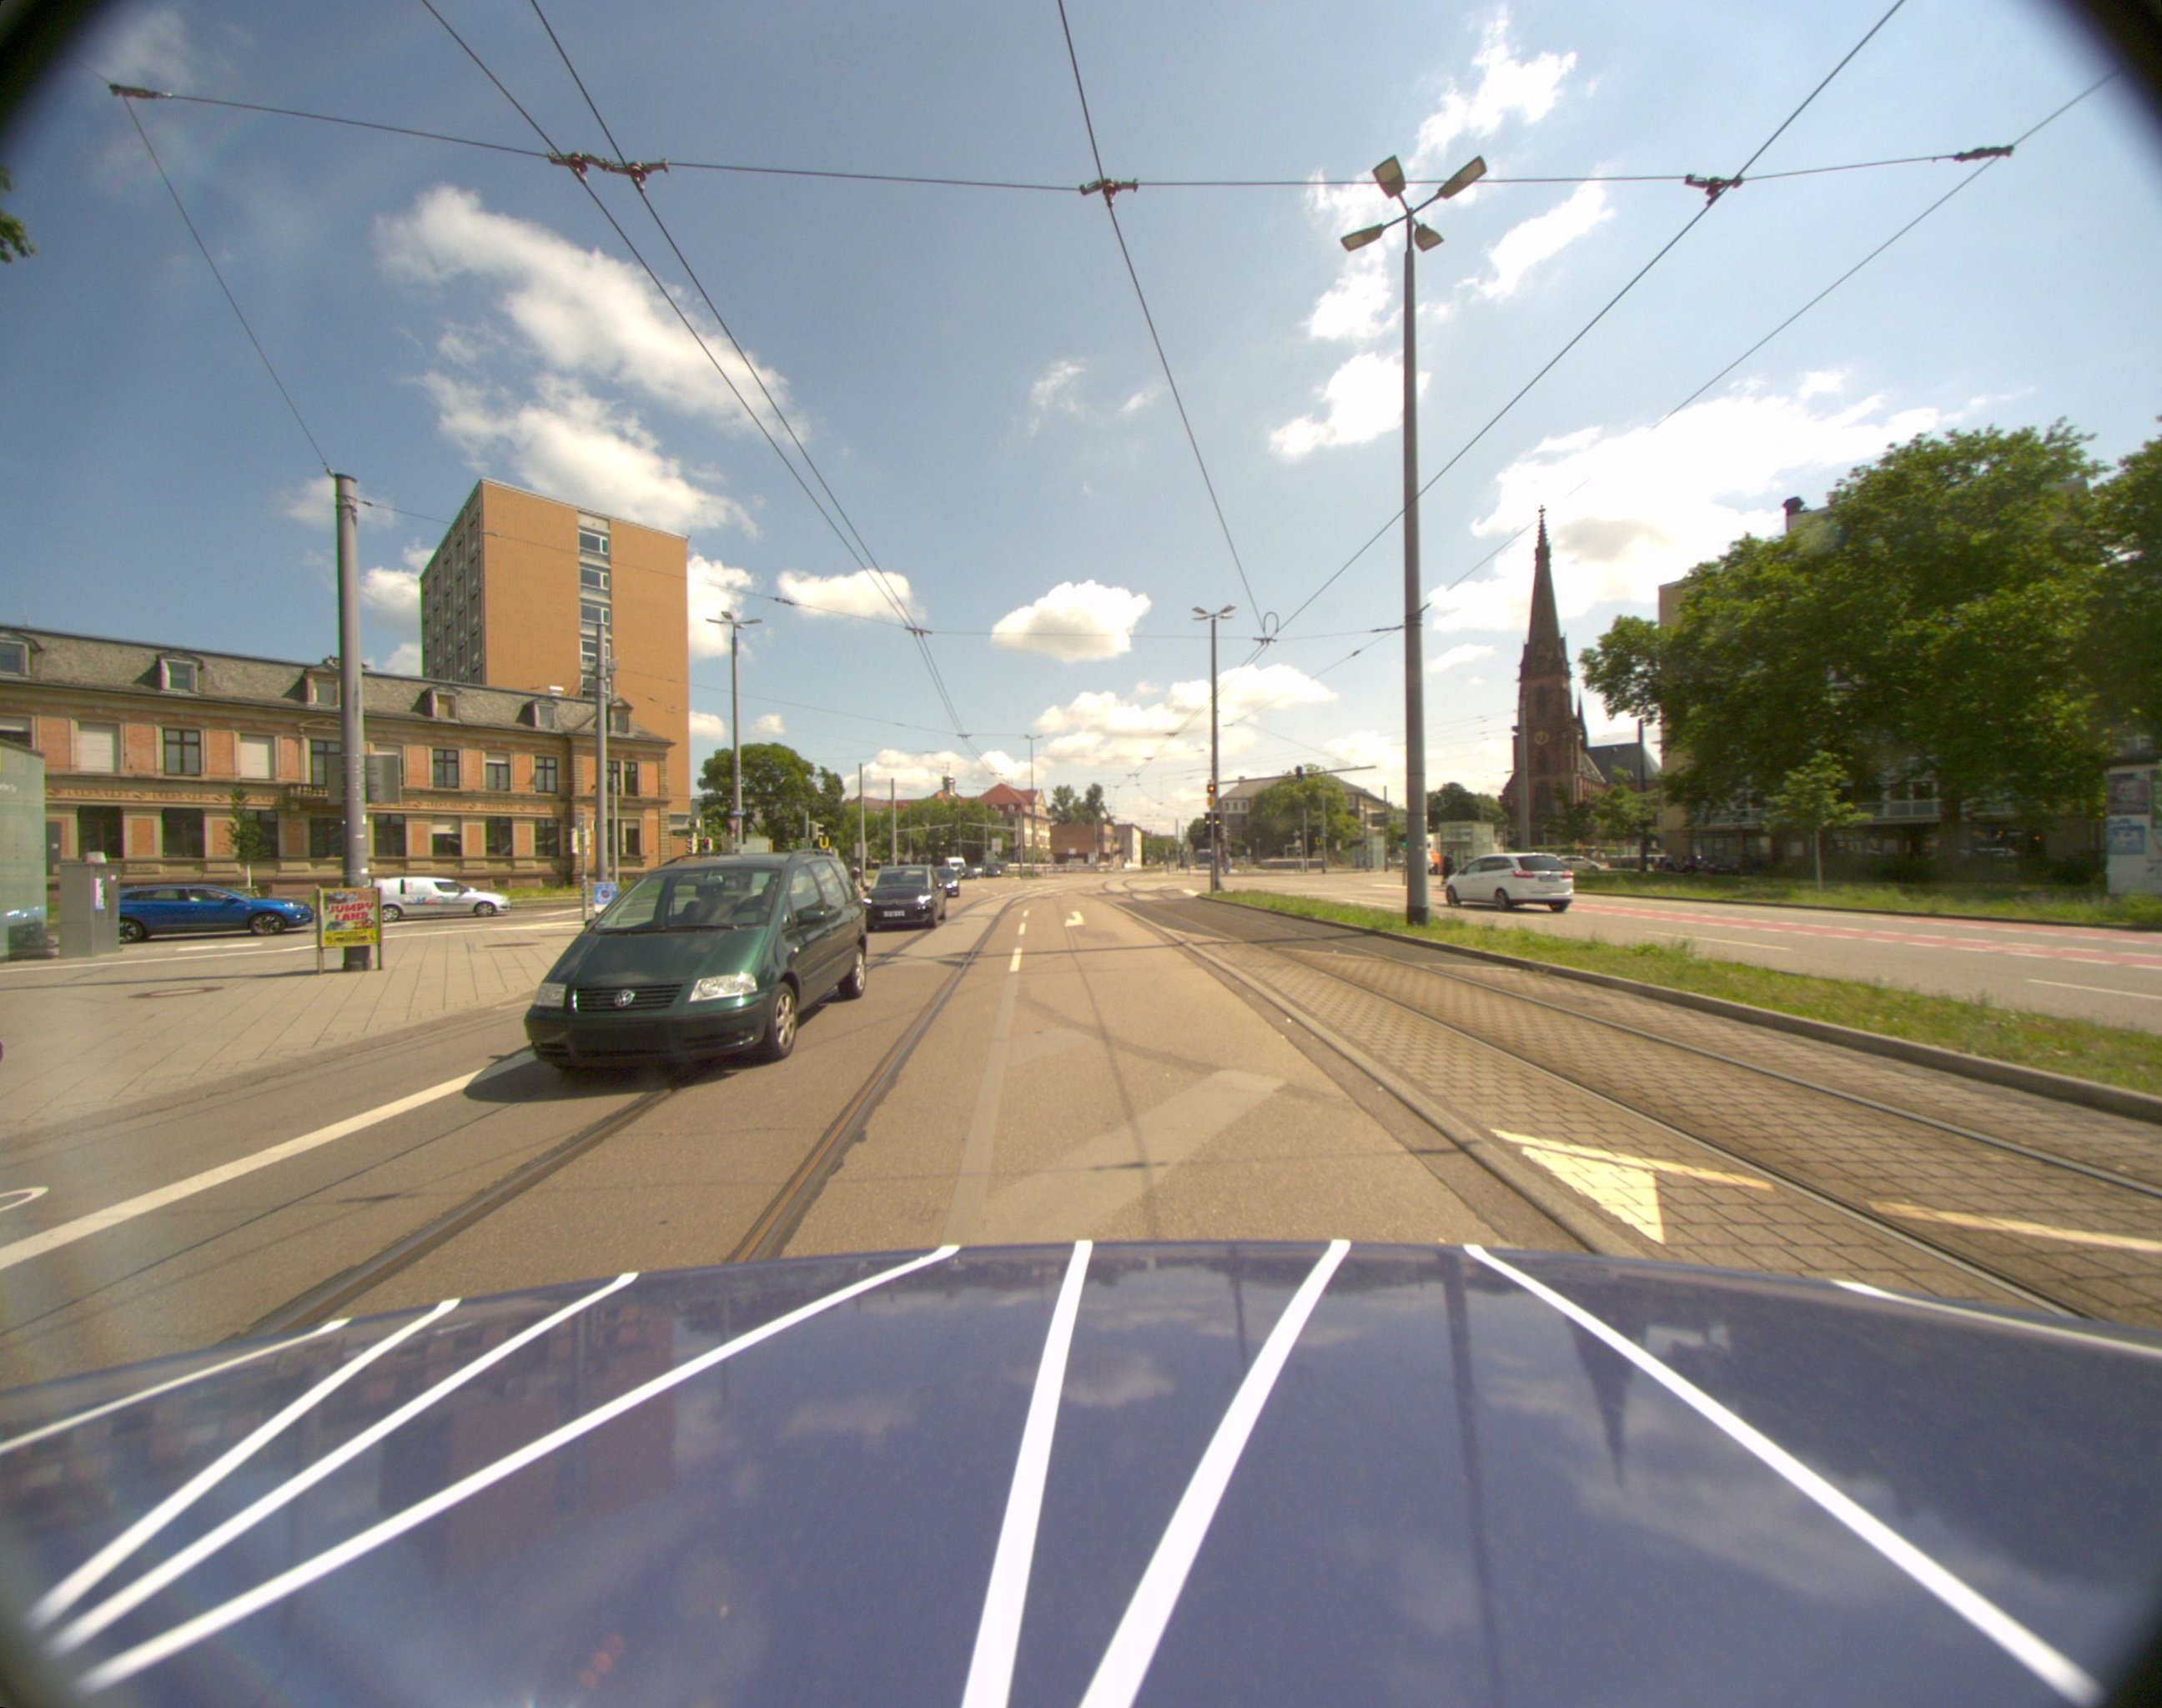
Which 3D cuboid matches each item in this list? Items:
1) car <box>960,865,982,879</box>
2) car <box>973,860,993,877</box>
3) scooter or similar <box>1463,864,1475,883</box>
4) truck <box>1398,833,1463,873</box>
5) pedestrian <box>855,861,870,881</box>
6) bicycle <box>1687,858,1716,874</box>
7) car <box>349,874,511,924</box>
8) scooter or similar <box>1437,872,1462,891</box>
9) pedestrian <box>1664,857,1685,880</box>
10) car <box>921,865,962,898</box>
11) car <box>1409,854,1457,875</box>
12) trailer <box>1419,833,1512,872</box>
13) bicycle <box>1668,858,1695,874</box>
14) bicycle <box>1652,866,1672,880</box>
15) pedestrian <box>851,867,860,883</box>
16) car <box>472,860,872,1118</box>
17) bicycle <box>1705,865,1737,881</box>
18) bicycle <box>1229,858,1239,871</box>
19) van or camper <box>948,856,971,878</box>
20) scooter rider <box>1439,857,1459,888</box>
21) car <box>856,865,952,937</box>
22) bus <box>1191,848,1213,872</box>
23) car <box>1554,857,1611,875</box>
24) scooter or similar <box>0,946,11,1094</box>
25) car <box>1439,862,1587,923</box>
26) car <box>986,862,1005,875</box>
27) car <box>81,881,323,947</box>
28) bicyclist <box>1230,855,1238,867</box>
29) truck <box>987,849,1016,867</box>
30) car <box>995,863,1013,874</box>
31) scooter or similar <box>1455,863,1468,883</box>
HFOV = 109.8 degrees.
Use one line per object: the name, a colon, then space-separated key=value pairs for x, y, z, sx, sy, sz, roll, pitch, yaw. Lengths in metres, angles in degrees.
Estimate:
car: x=-12.551 y=2.033 z=86.378 sx=1.903 sy=1.455 sz=4.255 roll=-1 pitch=0 yaw=-15
car: x=-12.474 y=1.848 z=96.569 sx=1.817 sy=2.002 sz=3.995 roll=-1 pitch=0 yaw=-16
scooter or similar: x=23.472 y=1.180 z=45.935 sx=0.416 sy=1.118 sz=0.556 roll=-1 pitch=0 yaw=-4
truck: x=36.973 y=-0.116 z=80.311 sx=6.890 sy=4.094 sz=2.956 roll=-1 pitch=0 yaw=-33
pedestrian: x=-20.180 y=1.567 z=70.153 sx=1.029 sy=1.802 sz=0.726 roll=-1 pitch=1 yaw=-44
bicycle: x=45.403 y=0.894 z=55.611 sx=0.494 sy=1.160 sz=1.598 roll=-1 pitch=0 yaw=-34
car: x=-24.018 y=1.605 z=28.215 sx=4.436 sy=1.578 sz=1.869 roll=0 pitch=0 yaw=-41
scooter or similar: x=20.552 y=1.505 z=42.352 sx=0.806 sy=1.026 sz=1.092 roll=-1 pitch=0 yaw=-3
pedestrian: x=40.833 y=1.005 z=52.306 sx=0.725 sy=1.551 sz=0.878 roll=0 pitch=-1 yaw=-25
car: x=-6.928 y=1.330 z=37.858 sx=1.874 sy=1.477 sz=4.423 roll=-1 pitch=0 yaw=-10
car: x=30.909 y=0.941 z=66.675 sx=4.249 sy=1.755 sz=1.767 roll=-1 pitch=0 yaw=-33
trailer: x=42.707 y=-0.160 z=84.128 sx=13.443 sy=4.052 sz=2.942 roll=-1 pitch=0 yaw=-34
bicycle: x=46.936 y=0.930 z=59.405 sx=0.494 sy=1.257 sz=1.598 roll=-1 pitch=0 yaw=-34
bicycle: x=47.727 y=1.536 z=62.425 sx=0.460 sy=1.139 sz=1.270 roll=0 pitch=-1 yaw=-38
pedestrian: x=-23.250 y=2.169 z=78.438 sx=0.831 sy=1.576 sz=0.767 roll=-1 pitch=-1 yaw=-14
car: x=-3.397 y=0.948 z=7.349 sx=1.820 sy=1.707 sz=4.083 roll=-2 pitch=0 yaw=-4
bicycle: x=43.927 y=1.301 z=52.162 sx=0.494 sy=1.060 sz=1.598 roll=-1 pitch=0 yaw=-34
bicycle: x=25.878 y=1.766 z=128.432 sx=1.247 sy=2.002 sz=3.486 roll=-1 pitch=0 yaw=6
van or camper: x=-15.341 y=1.599 z=95.610 sx=2.234 sy=2.719 sz=5.515 roll=-1 pitch=-1 yaw=-15
scooter rider: x=20.545 y=1.013 z=42.404 sx=0.779 sy=1.697 sz=0.649 roll=-1 pitch=0 yaw=-3
car: x=-4.612 y=1.162 z=20.424 sx=1.874 sy=1.607 sz=4.424 roll=-3 pitch=0 yaw=-6
bus: x=17.788 y=0.888 z=112.069 sx=2.948 sy=3.427 sz=7.953 roll=-1 pitch=-1 yaw=8
car: x=46.726 y=1.155 z=70.848 sx=4.165 sy=1.632 sz=1.631 roll=-1 pitch=0 yaw=15
scooter or similar: x=-9.095 y=1.323 z=5.577 sx=0.950 sy=1.173 sz=1.086 roll=0 pitch=0 yaw=3
car: x=12.604 y=1.058 z=22.546 sx=1.771 sy=1.594 sz=4.493 roll=0 pitch=-1 yaw=-1
car: x=-10.082 y=1.712 z=89.223 sx=1.673 sy=1.368 sz=3.911 roll=-1 pitch=-1 yaw=-14
car: x=-25.757 y=1.692 z=22.552 sx=4.435 sy=1.542 sz=1.868 roll=0 pitch=2 yaw=-40
bicyclist: x=25.892 y=1.132 z=128.519 sx=1.124 sy=2.002 sz=1.320 roll=0 pitch=0 yaw=6
truck: x=-13.926 y=0.706 z=132.234 sx=3.359 sy=2.980 sz=8.721 roll=-1 pitch=0 yaw=-17
car: x=-12.051 y=2.248 z=118.331 sx=1.817 sy=1.551 sz=4.101 roll=1 pitch=-1 yaw=-21
scooter or similar: x=22.896 y=1.161 z=45.752 sx=0.462 sy=1.193 sz=0.549 roll=-1 pitch=0 yaw=-4
